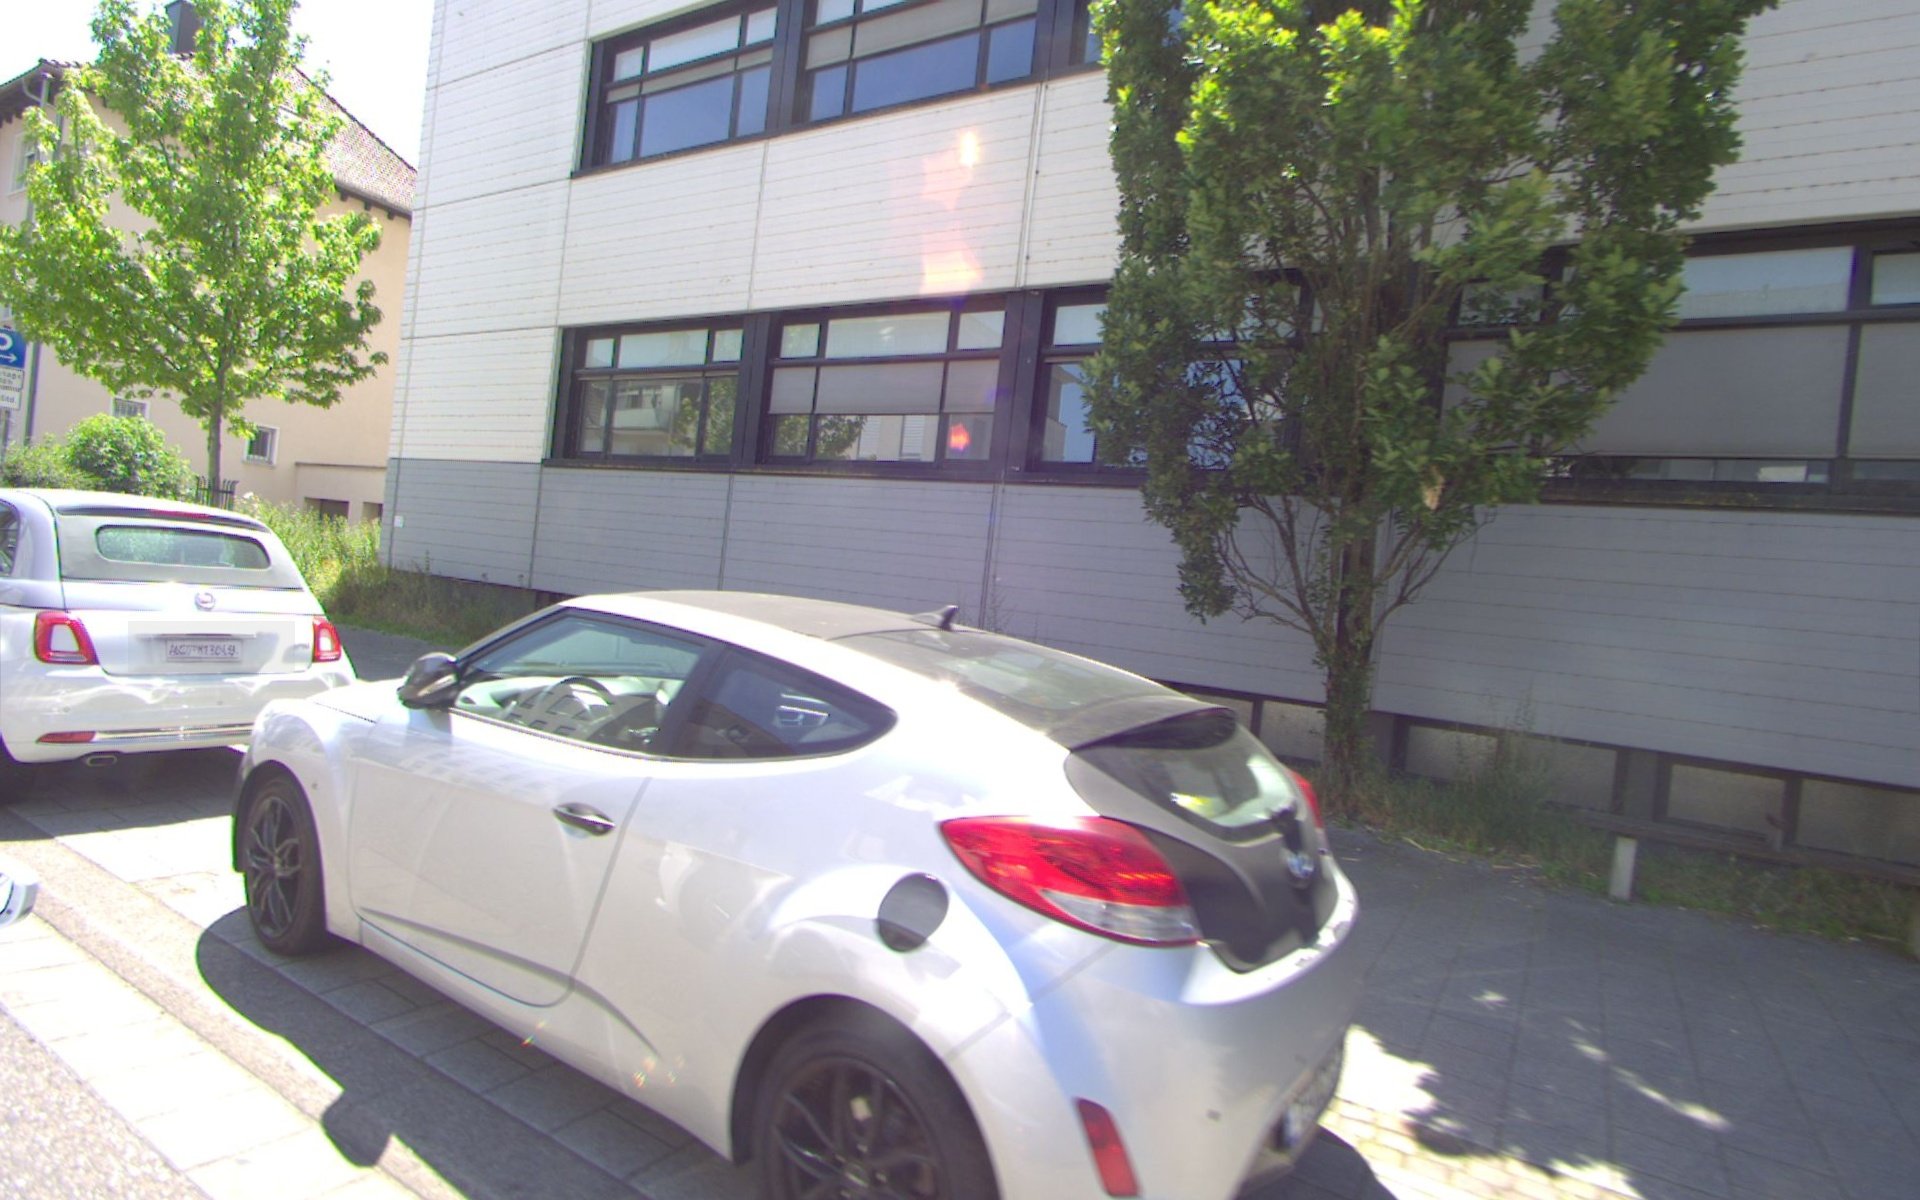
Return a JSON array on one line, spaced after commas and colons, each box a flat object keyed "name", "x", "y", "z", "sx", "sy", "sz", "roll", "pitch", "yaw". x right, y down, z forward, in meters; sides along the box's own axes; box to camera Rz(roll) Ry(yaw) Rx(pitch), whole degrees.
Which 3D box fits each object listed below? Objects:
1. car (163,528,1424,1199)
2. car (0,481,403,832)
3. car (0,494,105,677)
[{"name": "car", "x": -0.753, "y": 0.654, "z": 3.440, "sx": 3.935, "sy": 1.390, "sz": 1.863, "roll": 6, "pitch": 0, "yaw": 33}, {"name": "car", "x": -5.467, "y": 0.078, "z": 6.138, "sx": 4.273, "sy": 1.508, "sz": 1.659, "roll": 6, "pitch": 2, "yaw": 31}, {"name": "car", "x": -9.353, "y": -0.313, "z": 8.662, "sx": 4.328, "sy": 1.401, "sz": 1.726, "roll": 6, "pitch": 2, "yaw": 31}]
